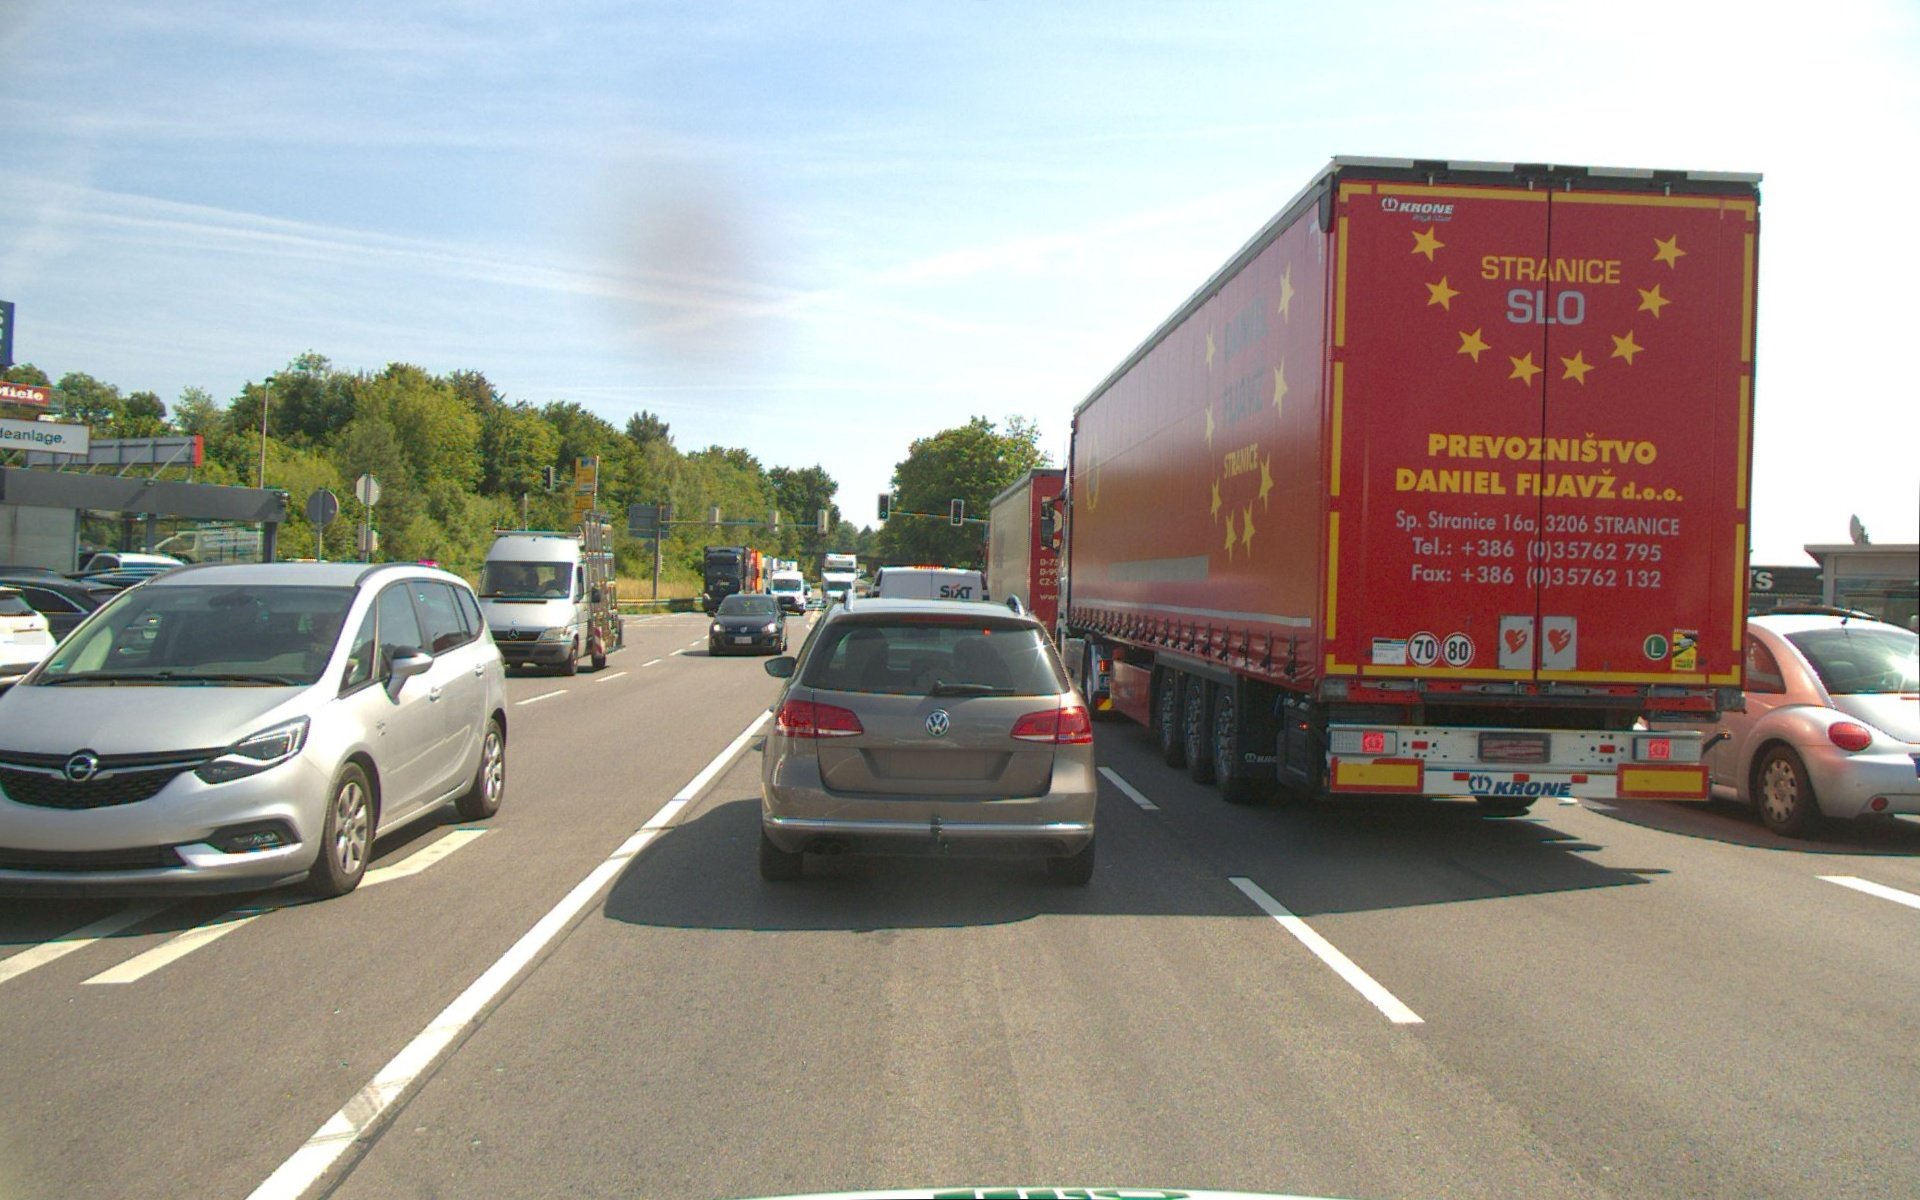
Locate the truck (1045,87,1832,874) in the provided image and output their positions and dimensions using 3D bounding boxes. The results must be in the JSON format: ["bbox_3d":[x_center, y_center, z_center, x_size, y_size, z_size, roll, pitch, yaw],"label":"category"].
[{"bbox_3d":[3.143,-0.705,17.602,2.898,4.344,16.577,1,0,-2],"label":"truck"}]

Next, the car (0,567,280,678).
[{"bbox_3d":[-12.471,0.320,24.859,3.740,1.566,1.841,1,0,-3],"label":"car"}]

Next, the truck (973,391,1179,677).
[{"bbox_3d":[2.256,-1.287,39.640,3.001,5.312,16.999,1,0,-2],"label":"truck"}]

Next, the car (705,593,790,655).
[{"bbox_3d":[-5.156,0.545,40.506,1.632,1.434,3.925,0,0,-1],"label":"car"}]

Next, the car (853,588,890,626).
[{"bbox_3d":[-4.732,0.374,88.765,1.691,1.942,3.312,2,-1,1],"label":"car"}]

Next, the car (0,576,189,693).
[{"bbox_3d":[-12.571,0.422,22.002,3.740,1.473,1.841,1,0,-3],"label":"car"}]

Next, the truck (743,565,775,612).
[{"bbox_3d":[-16.870,-0.978,138.942,2.484,3.852,6.981,0,0,-6],"label":"truck"}]

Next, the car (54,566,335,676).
[{"bbox_3d":[-12.493,0.337,27.197,3.740,1.704,1.841,1,0,-3],"label":"car"}]

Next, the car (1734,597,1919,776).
[{"bbox_3d":[11.367,1.002,19.983,3.788,1.954,1.688,1,0,-27],"label":"car"}]

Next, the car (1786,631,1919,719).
[{"bbox_3d":[18.143,1.445,33.056,1.964,1.558,3.977,2,0,41],"label":"car"}]

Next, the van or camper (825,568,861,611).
[{"bbox_3d":[-8.131,-0.692,115.384,2.179,2.890,5.708,2,-1,-2],"label":"van or camper"}]

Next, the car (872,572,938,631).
[{"bbox_3d":[-1.507,0.053,46.357,1.691,1.545,3.312,2,-1,0],"label":"car"}]

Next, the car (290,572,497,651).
[{"bbox_3d":[-13.192,0.242,38.482,4.428,1.723,2.128,1,0,29],"label":"car"}]

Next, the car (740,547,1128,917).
[{"bbox_3d":[-0.084,0.600,9.281,1.753,1.667,3.504,1,0,1],"label":"car"}]

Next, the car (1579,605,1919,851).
[{"bbox_3d":[6.322,0.807,12.316,1.627,1.497,3.995,1,0,-6],"label":"car"}]

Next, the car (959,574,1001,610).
[{"bbox_3d":[0.898,-0.343,75.280,1.692,1.545,3.310,2,-1,-3],"label":"car"}]

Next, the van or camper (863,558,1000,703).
[{"bbox_3d":[-0.474,0.410,24.547,1.815,1.939,3.782,2,0,-3],"label":"van or camper"}]

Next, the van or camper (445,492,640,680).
[{"bbox_3d":[-7.702,-0.255,31.213,2.163,3.109,5.901,2,0,-1],"label":"van or camper"}]

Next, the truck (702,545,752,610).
[{"bbox_3d":[-14.292,-1.355,101.722,2.758,3.852,6.981,0,0,-6],"label":"truck"}]

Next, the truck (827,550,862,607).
[{"bbox_3d":[-9.070,-1.662,130.107,2.501,4.383,7.592,0,0,-2],"label":"truck"}]

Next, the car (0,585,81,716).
[{"bbox_3d":[-12.694,0.542,19.415,3.740,1.473,1.841,1,0,-3],"label":"car"}]

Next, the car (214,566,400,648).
[{"bbox_3d":[-14.466,0.131,36.640,3.743,1.723,1.840,1,0,27],"label":"car"}]

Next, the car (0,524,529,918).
[{"bbox_3d":[-3.868,0.516,9.230,1.870,1.692,4.180,0,0,-1],"label":"car"}]

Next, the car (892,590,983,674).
[{"bbox_3d":[-0.463,0.614,32.993,1.692,1.545,3.311,2,-1,-1],"label":"car"}]

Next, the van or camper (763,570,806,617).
[{"bbox_3d":[-10.046,-0.386,94.812,2.130,2.596,4.168,2,0,-3],"label":"van or camper"}]
